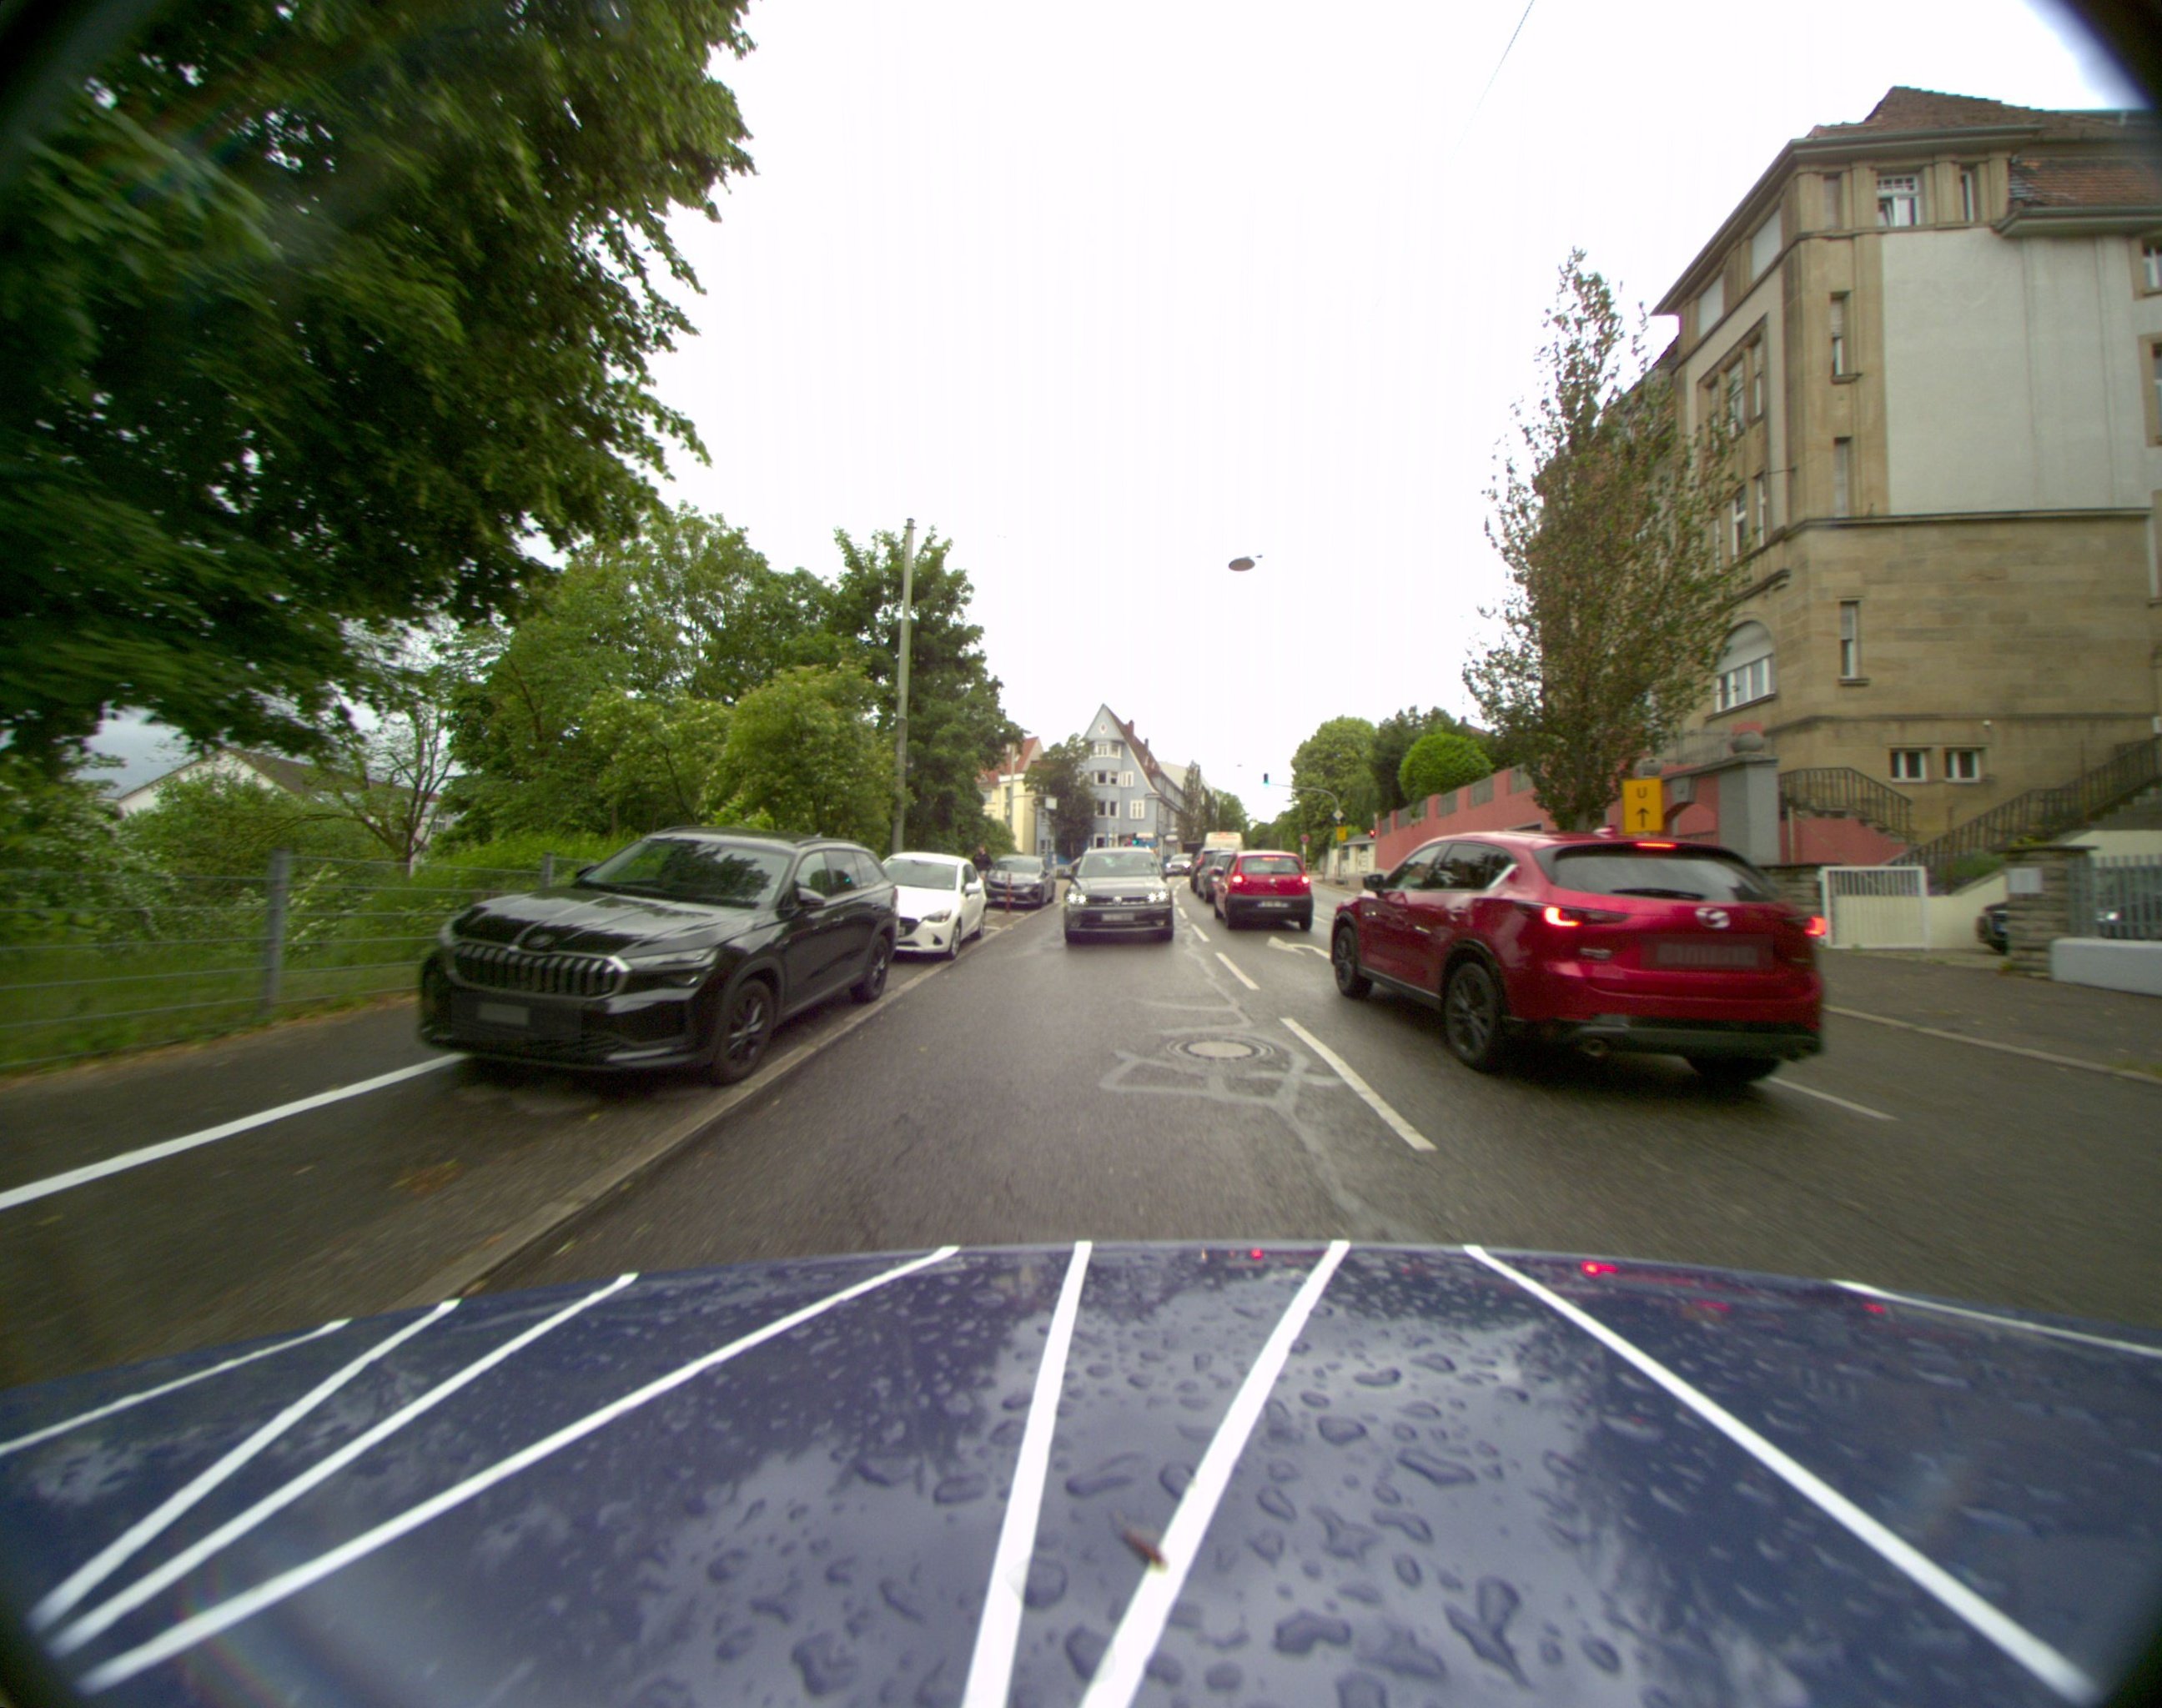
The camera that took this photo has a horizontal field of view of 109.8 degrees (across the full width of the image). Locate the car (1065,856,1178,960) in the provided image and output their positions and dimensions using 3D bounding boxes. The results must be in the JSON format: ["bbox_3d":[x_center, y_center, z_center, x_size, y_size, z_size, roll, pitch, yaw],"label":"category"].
[{"bbox_3d":[0.771,0.872,14.162,1.785,1.631,4.201,1,0,4],"label":"car"}]

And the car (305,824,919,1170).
[{"bbox_3d":[-2.947,0.735,6.303,1.825,1.673,4.805,3,0,4],"label":"car"}]

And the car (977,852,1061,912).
[{"bbox_3d":[-1.702,0.744,22.053,1.652,1.397,3.814,5,2,5],"label":"car"}]

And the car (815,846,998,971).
[{"bbox_3d":[-2.587,0.714,12.271,1.819,1.486,4.000,6,1,1],"label":"car"}]

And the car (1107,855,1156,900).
[{"bbox_3d":[2.061,0.889,29.950,1.785,1.631,4.202,1,0,5],"label":"car"}]

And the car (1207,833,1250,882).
[{"bbox_3d":[8.387,0.179,42.769,2.120,2.530,5.546,1,0,14],"label":"car"}]

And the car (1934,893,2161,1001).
[{"bbox_3d":[15.534,1.350,11.332,3.560,1.390,1.789,1,-1,1],"label":"car"}]

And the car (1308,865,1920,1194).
[{"bbox_3d":[3.436,0.956,6.126,1.850,1.574,4.279,3,0,0],"label":"car"}]

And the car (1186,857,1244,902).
[{"bbox_3d":[5.049,0.913,29.108,1.879,1.565,4.588,0,0,6],"label":"car"}]

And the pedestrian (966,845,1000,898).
[{"bbox_3d":[-3.052,0.548,23.788,0.767,1.596,0.966,3,1,7],"label":"pedestrian"}]

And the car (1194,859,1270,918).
[{"bbox_3d":[4.475,0.953,23.108,1.777,1.488,4.264,3,1,6],"label":"car"}]

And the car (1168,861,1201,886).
[{"bbox_3d":[7.259,1.323,53.168,1.734,1.610,3.480,-1,0,17],"label":"car"}]

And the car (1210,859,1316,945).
[{"bbox_3d":[3.678,0.886,15.947,1.658,1.559,4.002,0,0,6],"label":"car"}]

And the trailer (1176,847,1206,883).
[{"bbox_3d":[8.180,0.807,56.273,1.768,2.610,3.036,-1,0,16],"label":"trailer"}]
